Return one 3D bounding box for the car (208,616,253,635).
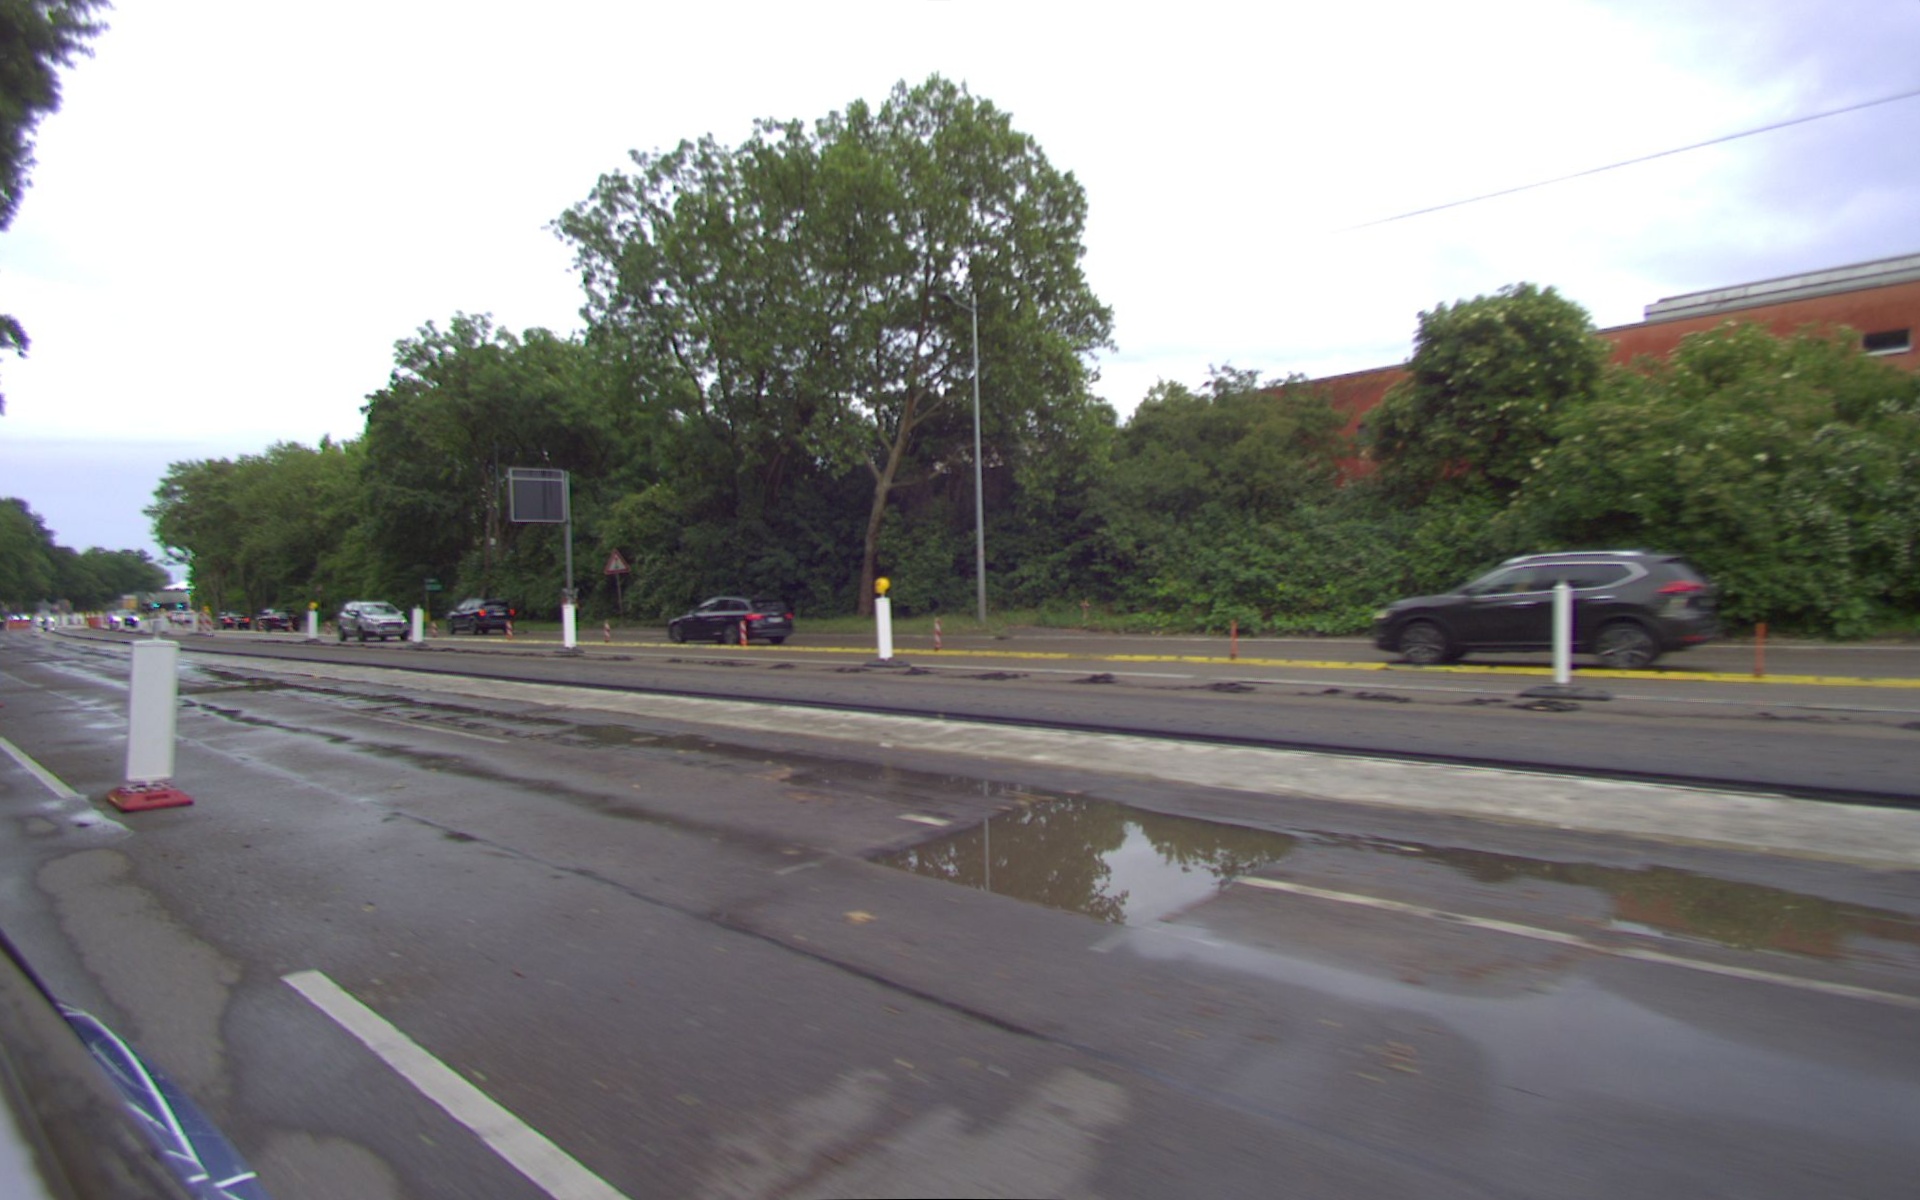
[{"bbox_3d":[-53.831,1.876,74.613,4.388,1.366,1.798,-2,-2,42],"label":"car"}]

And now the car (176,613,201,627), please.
[{"bbox_3d":[-87.812,2.262,115.205,4.158,1.553,1.648,-1,-3,44],"label":"car"}]

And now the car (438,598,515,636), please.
[{"bbox_3d":[-22.994,0.817,48.051,4.532,1.698,1.636,-2,1,42],"label":"car"}]

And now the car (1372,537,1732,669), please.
[{"bbox_3d":[8.894,0.055,15.463,4.492,1.735,1.717,-1,1,41],"label":"car"}]

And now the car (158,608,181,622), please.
[{"bbox_3d":[-105.987,2.025,135.704,4.380,1.764,1.757,-1,-1,43],"label":"car"}]

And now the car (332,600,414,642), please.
[{"bbox_3d":[-23.806,0.846,41.001,3.860,1.596,1.770,-1,0,42],"label":"car"}]

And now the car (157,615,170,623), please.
[{"bbox_3d":[-151.090,3.553,191.903,1.760,1.437,4.479,0,-1,-36],"label":"car"}]

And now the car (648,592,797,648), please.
[{"bbox_3d":[-7.071,0.583,29.861,4.898,1.495,1.742,-1,0,41],"label":"car"}]

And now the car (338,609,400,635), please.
[{"bbox_3d":[-34.942,1.285,59.813,4.601,1.430,1.799,-2,1,42],"label":"car"}]

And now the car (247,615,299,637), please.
[{"bbox_3d":[-43.847,1.635,64.585,4.203,1.366,1.798,-2,-2,42],"label":"car"}]
